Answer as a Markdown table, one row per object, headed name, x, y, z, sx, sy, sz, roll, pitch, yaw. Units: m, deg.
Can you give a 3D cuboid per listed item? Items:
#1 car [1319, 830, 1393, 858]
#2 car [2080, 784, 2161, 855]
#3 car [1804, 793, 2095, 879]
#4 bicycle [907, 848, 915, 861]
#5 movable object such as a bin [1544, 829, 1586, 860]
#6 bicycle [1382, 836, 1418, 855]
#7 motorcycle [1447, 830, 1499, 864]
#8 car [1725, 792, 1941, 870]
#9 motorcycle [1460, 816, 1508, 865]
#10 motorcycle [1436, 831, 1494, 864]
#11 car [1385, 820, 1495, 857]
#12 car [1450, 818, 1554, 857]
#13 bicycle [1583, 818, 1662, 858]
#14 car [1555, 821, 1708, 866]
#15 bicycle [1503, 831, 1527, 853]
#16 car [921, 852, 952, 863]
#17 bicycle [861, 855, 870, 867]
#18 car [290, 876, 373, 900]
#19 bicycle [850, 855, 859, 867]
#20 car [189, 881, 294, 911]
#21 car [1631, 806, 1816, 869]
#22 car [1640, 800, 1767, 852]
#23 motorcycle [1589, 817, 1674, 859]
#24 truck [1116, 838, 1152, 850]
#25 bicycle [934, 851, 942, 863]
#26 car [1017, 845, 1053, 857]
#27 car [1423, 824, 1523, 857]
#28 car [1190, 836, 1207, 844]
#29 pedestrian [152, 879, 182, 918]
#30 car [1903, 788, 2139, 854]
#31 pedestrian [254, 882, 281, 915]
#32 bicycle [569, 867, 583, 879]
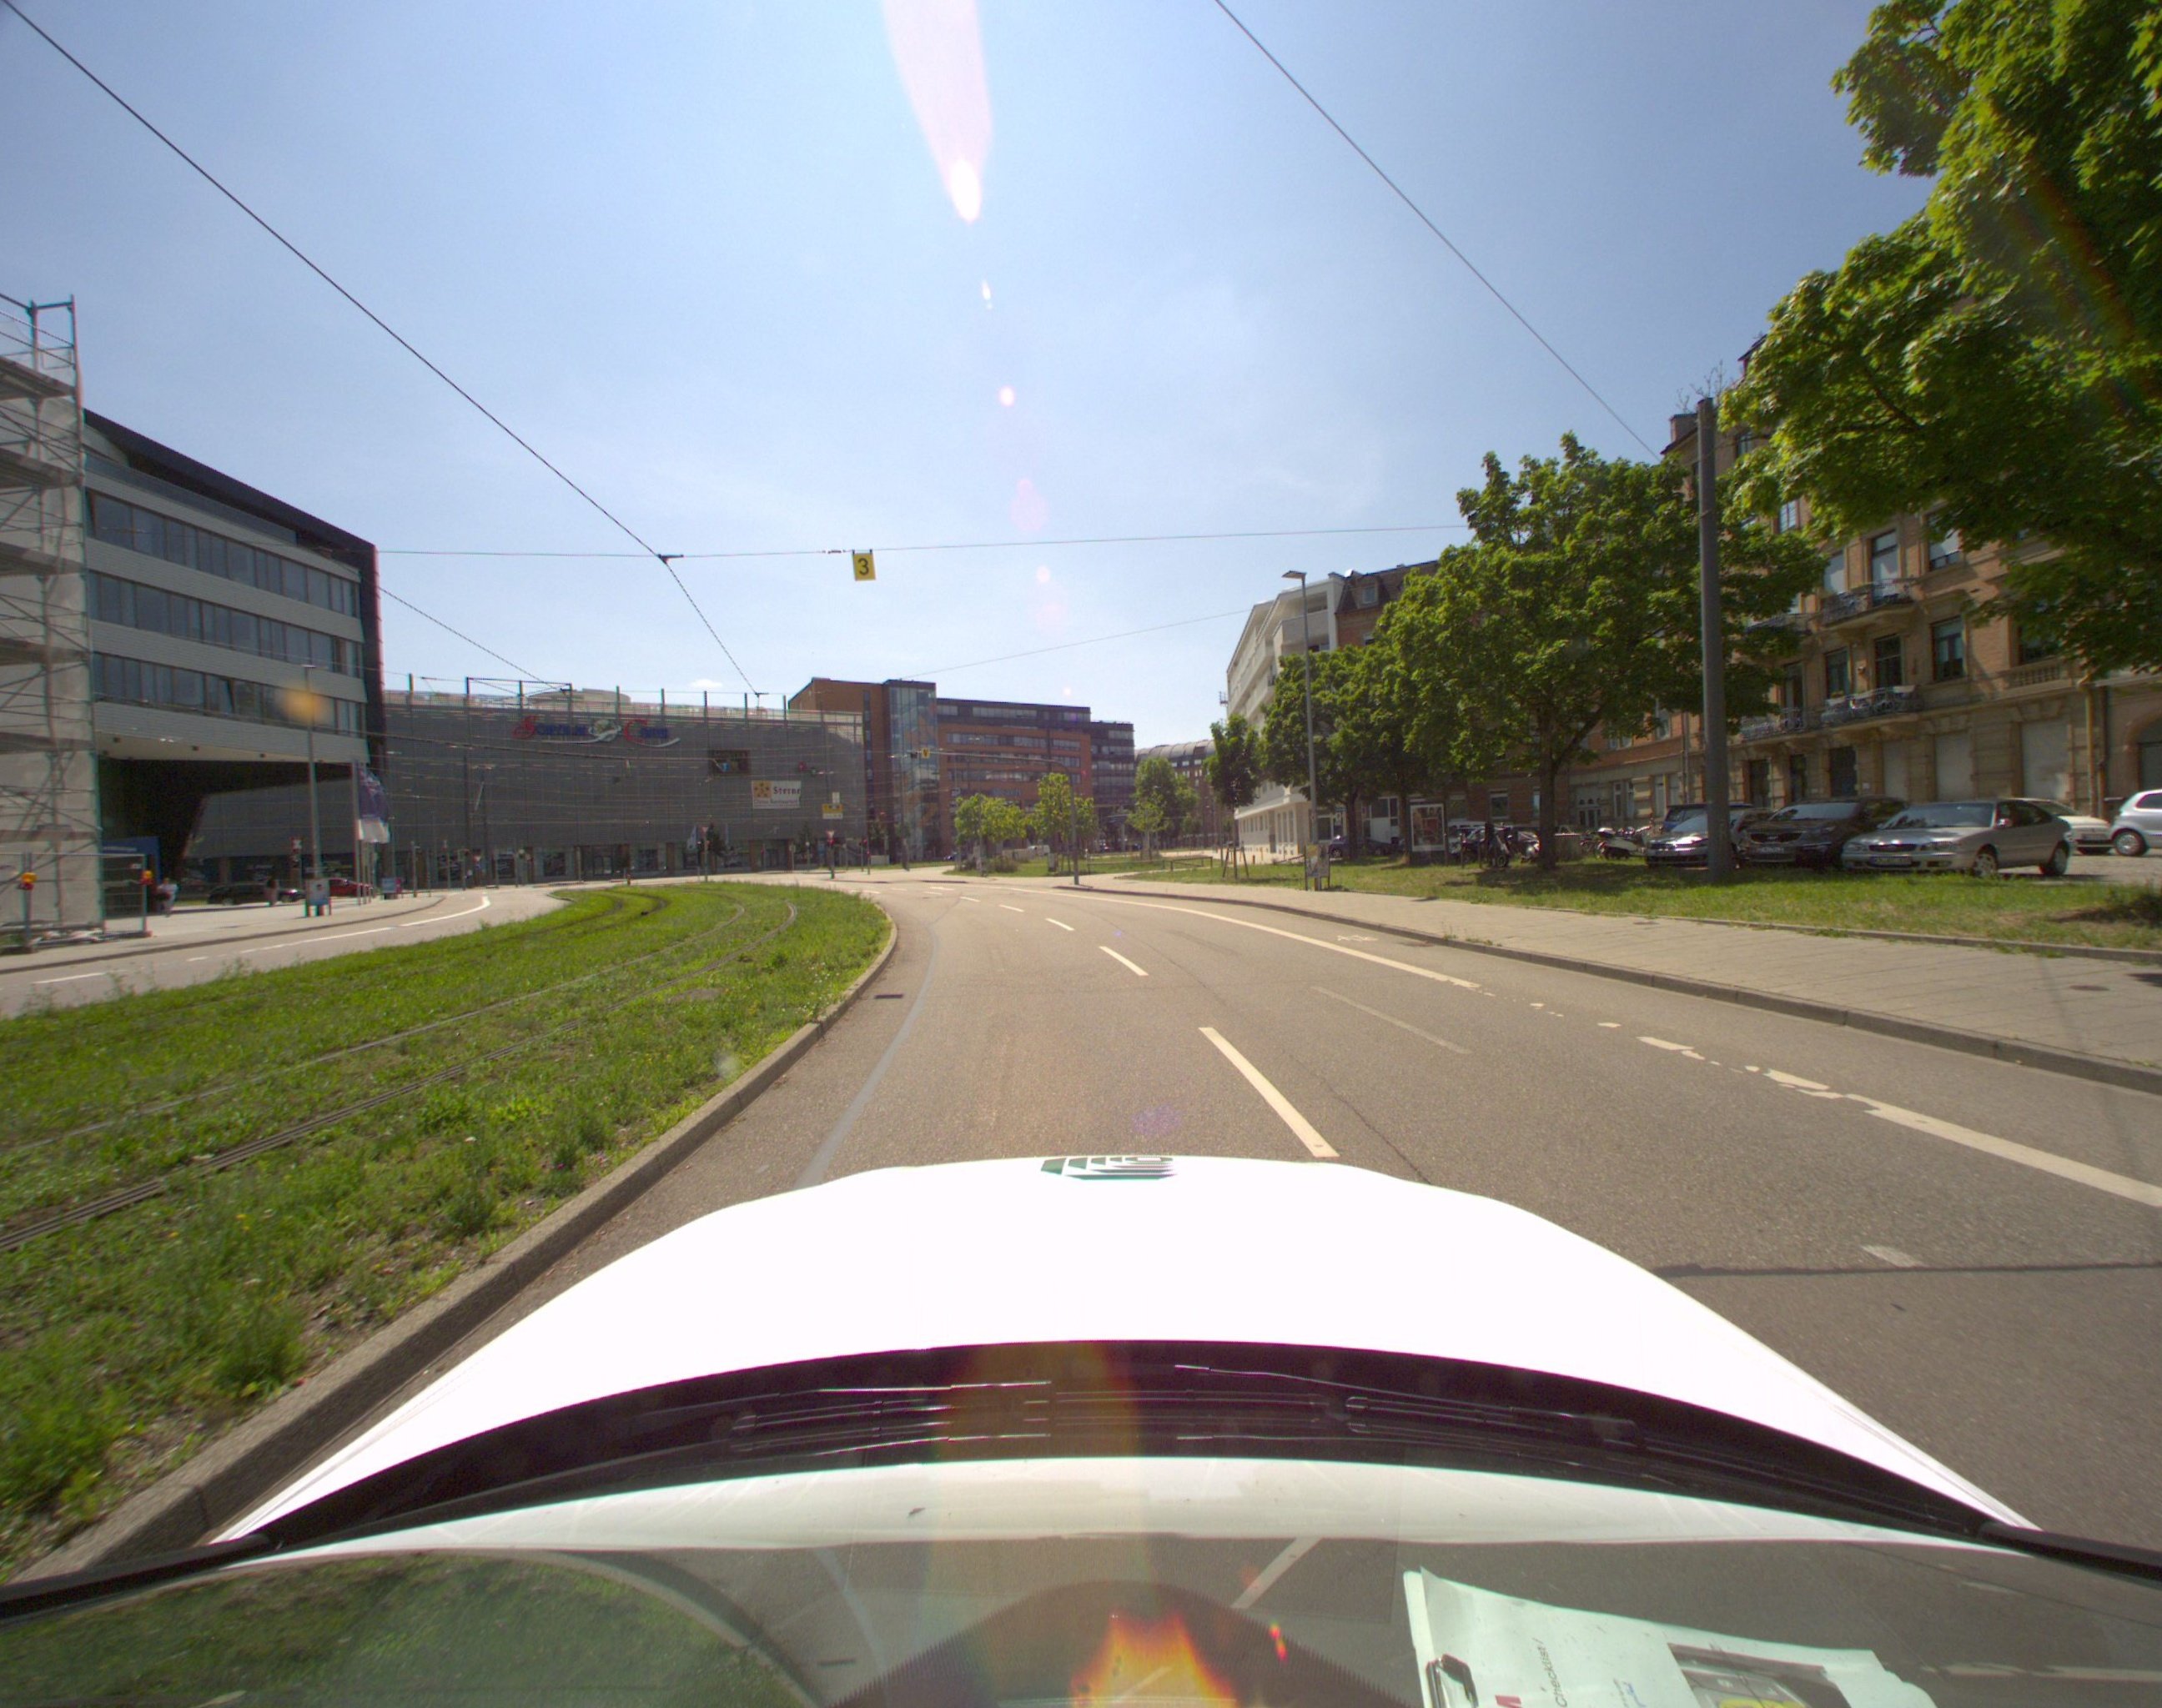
| name | x | y | z | sx | sy | sz | roll | pitch | yaw |
| --- | --- | --- | --- | --- | --- | --- | --- | --- | --- |
| car | 17.265 | -0.619 | 51.177 | 4.077 | 1.624 | 1.706 | -1 | 1 | 34 |
| car | 24.200 | -0.766 | 17.014 | 1.829 | 1.530 | 4.003 | -2 | 1 | 3 |
| car | 15.116 | -0.332 | 14.229 | 3.997 | 1.313 | 1.961 | -2 | 0 | -18 |
| bicycle | -26.793 | 0.060 | 128.470 | 0.488 | 2.013 | 2.323 | -2 | 0 | -31 |
| movable object such as a bin | 15.301 | -0.308 | 25.779 | 0.978 | 0.937 | 0.704 | -1 | 0 | 16 |
| bicycle | 16.900 | -0.449 | 43.163 | 2.055 | 0.935 | 0.504 | -2 | 0 | -26 |
| motorcycle | 13.472 | -0.249 | 28.006 | 1.513 | 1.120 | 0.478 | -2 | 0 | 4 |
| car | 15.649 | -0.486 | 16.955 | 4.097 | 1.469 | 1.784 | -2 | 0 | -23 |
| motorcycle | 12.516 | -0.415 | 25.356 | 0.671 | 1.413 | 1.860 | -4 | 1 | 6 |
| motorcycle | 13.695 | -0.238 | 29.054 | 1.817 | 1.120 | 0.527 | -2 | 0 | -3 |
| car | 16.753 | -0.725 | 38.016 | 4.879 | 1.600 | 1.822 | -2 | 0 | -23 |
| car | 16.745 | -0.670 | 32.364 | 3.875 | 1.432 | 1.594 | -2 | 0 | -25 |
| bicycle | 17.858 | -0.530 | 26.904 | 2.063 | 1.236 | 0.634 | -1 | 0 | 14 |
| car | 18.985 | -0.360 | 28.279 | 3.960 | 1.376 | 1.964 | -1 | 0 | 12 |
| bicycle | 16.066 | -0.443 | 30.137 | 0.492 | 0.805 | 1.465 | -1 | 1 | 39 |
| car | -20.329 | 0.518 | 114.725 | 4.016 | 1.442 | 1.725 | -2 | 1 | -34 |
| bicycle | -32.529 | 1.089 | 122.934 | 0.602 | 1.731 | 2.237 | -2 | 0 | -31 |
| car | -53.462 | 2.397 | 58.184 | 4.158 | 1.508 | 1.822 | -2 | 1 | -37 |
| bicycle | -34.096 | 1.086 | 122.451 | 0.602 | 1.731 | 2.237 | -2 | 0 | -31 |
| car | -54.781 | 2.720 | 53.264 | 4.565 | 1.508 | 1.821 | -4 | 2 | -40 |
| car | 15.671 | -0.420 | 19.851 | 4.351 | 1.376 | 1.571 | -2 | 0 | -22 |
| car | 25.200 | -1.097 | 33.218 | 1.910 | 1.903 | 4.661 | -2 | 1 | 5 |
| motorcycle | 17.324 | -0.505 | 25.667 | 2.061 | 1.236 | 0.816 | -2 | 0 | 20 |
| truck | 13.129 | -2.394 | 202.523 | 9.120 | 2.809 | 2.013 | -1 | 0 | 36 |
| bicycle | -22.912 | 0.455 | 130.656 | 0.488 | 1.796 | 2.237 | -2 | 0 | -31 |
| car | -7.138 | -0.460 | 126.942 | 5.508 | 1.668 | 1.977 | -2 | 1 | -39 |
| car | 17.109 | -0.598 | 35.552 | 4.004 | 1.332 | 1.746 | -2 | 0 | -23 |
| car | 30.417 | -3.629 | 210.943 | 3.948 | 1.728 | 1.878 | -1 | 1 | 35 |
| pedestrian | -37.277 | 1.806 | 33.227 | 0.574 | 1.518 | 0.592 | -1 | 0 | 18 |
| car | 24.451 | -0.816 | 21.444 | 1.827 | 1.530 | 4.008 | -2 | 1 | 6 |
| pedestrian | -40.686 | 2.216 | 40.724 | 0.903 | 1.630 | 0.754 | -1 | 0 | 33 |
| bicycle | -60.308 | 2.257 | 97.191 | 1.067 | 1.390 | 2.998 | -2 | 1 | -26 |
